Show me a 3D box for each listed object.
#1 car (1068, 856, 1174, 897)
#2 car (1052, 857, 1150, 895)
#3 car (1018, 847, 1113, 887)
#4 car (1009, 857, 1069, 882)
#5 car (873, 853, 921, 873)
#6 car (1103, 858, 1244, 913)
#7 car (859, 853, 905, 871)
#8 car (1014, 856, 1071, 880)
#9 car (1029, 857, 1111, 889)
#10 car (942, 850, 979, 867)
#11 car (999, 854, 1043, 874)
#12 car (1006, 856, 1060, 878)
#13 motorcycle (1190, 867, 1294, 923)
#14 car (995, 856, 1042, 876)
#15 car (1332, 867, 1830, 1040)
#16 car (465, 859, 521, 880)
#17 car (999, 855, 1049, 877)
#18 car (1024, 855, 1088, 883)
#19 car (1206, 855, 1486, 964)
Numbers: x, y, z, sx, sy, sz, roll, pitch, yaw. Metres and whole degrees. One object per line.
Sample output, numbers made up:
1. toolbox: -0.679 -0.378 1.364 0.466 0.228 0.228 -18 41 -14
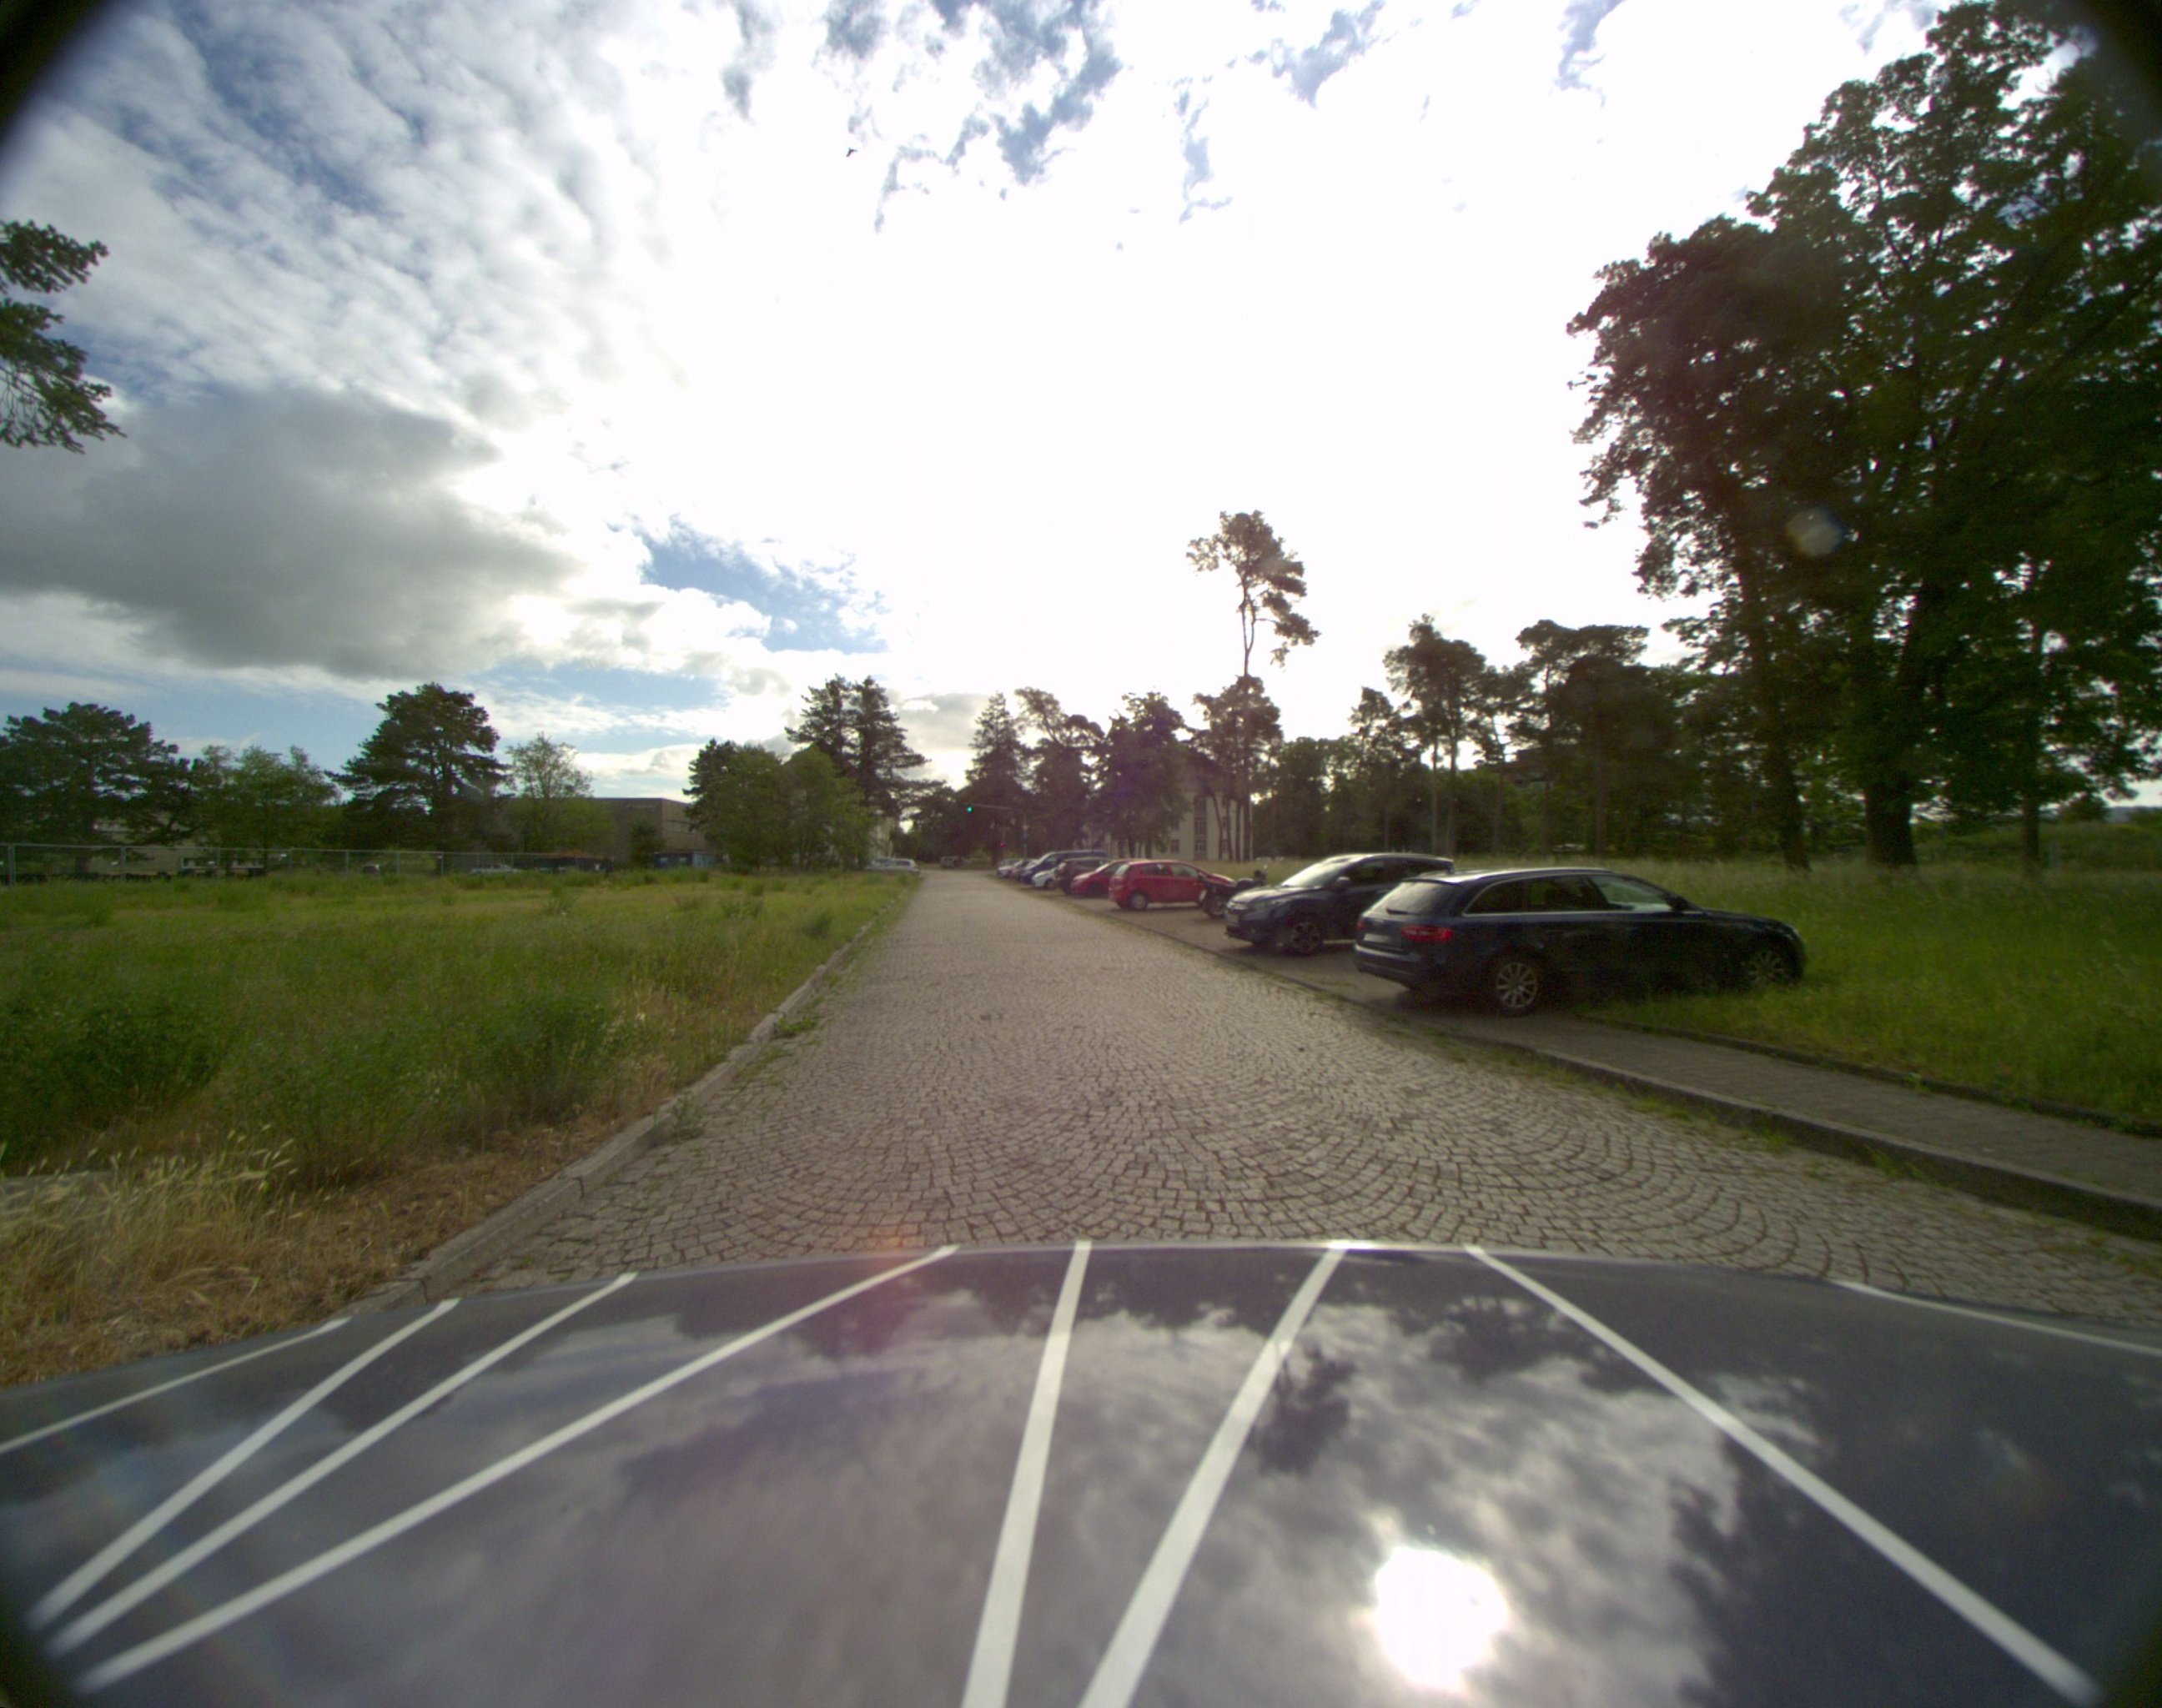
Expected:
1. car: 1.594 0.879 30.584 3.954 1.511 1.706 -1 0 -10
2. car: 0.852 0.923 33.060 3.920 1.594 1.819 0 0 -13
3. car: -0.912 0.698 42.052 4.837 1.855 2.159 -3 2 -12
4. car: -2.755 0.986 50.070 3.603 1.413 1.616 -3 1 -18
5. car: -15.098 0.684 62.425 3.733 1.430 1.624 -3 2 -14
6. car: 2.776 0.909 23.041 3.897 1.470 1.670 -2 0 -11
7. car: -17.665 0.702 67.413 3.734 1.430 1.624 -3 2 -18
8. car: -2.696 0.942 53.062 3.575 1.426 1.604 -4 2 -18
9. car: -0.582 0.950 39.397 3.933 1.385 1.741 -3 2 -12
10. car: -20.684 0.726 130.577 5.802 2.548 2.765 -4 2 -16
11. car: -5.179 0.843 65.517 3.458 1.424 1.625 -4 2 -20
12. car: -3.503 0.938 55.671 3.575 1.408 1.636 -4 2 -18
13. motorcycle: 3.958 0.995 18.728 2.363 1.280 0.743 -1 0 -10
14. car: -5.196 0.982 62.672 3.574 1.450 1.624 -3 2 -13
15. car: 5.202 0.944 8.166 4.445 1.471 1.681 -1 0 -8
16. car: -55.843 1.473 72.192 1.994 1.892 3.779 -2 -2 39
17. car: -4.509 0.896 59.972 3.576 1.479 1.600 -4 2 -18
18. car: -1.576 0.928 47.508 3.603 1.446 1.685 -4 2 -18
19. car: 4.414 0.856 12.899 4.153 1.564 1.788 -1 1 -12
